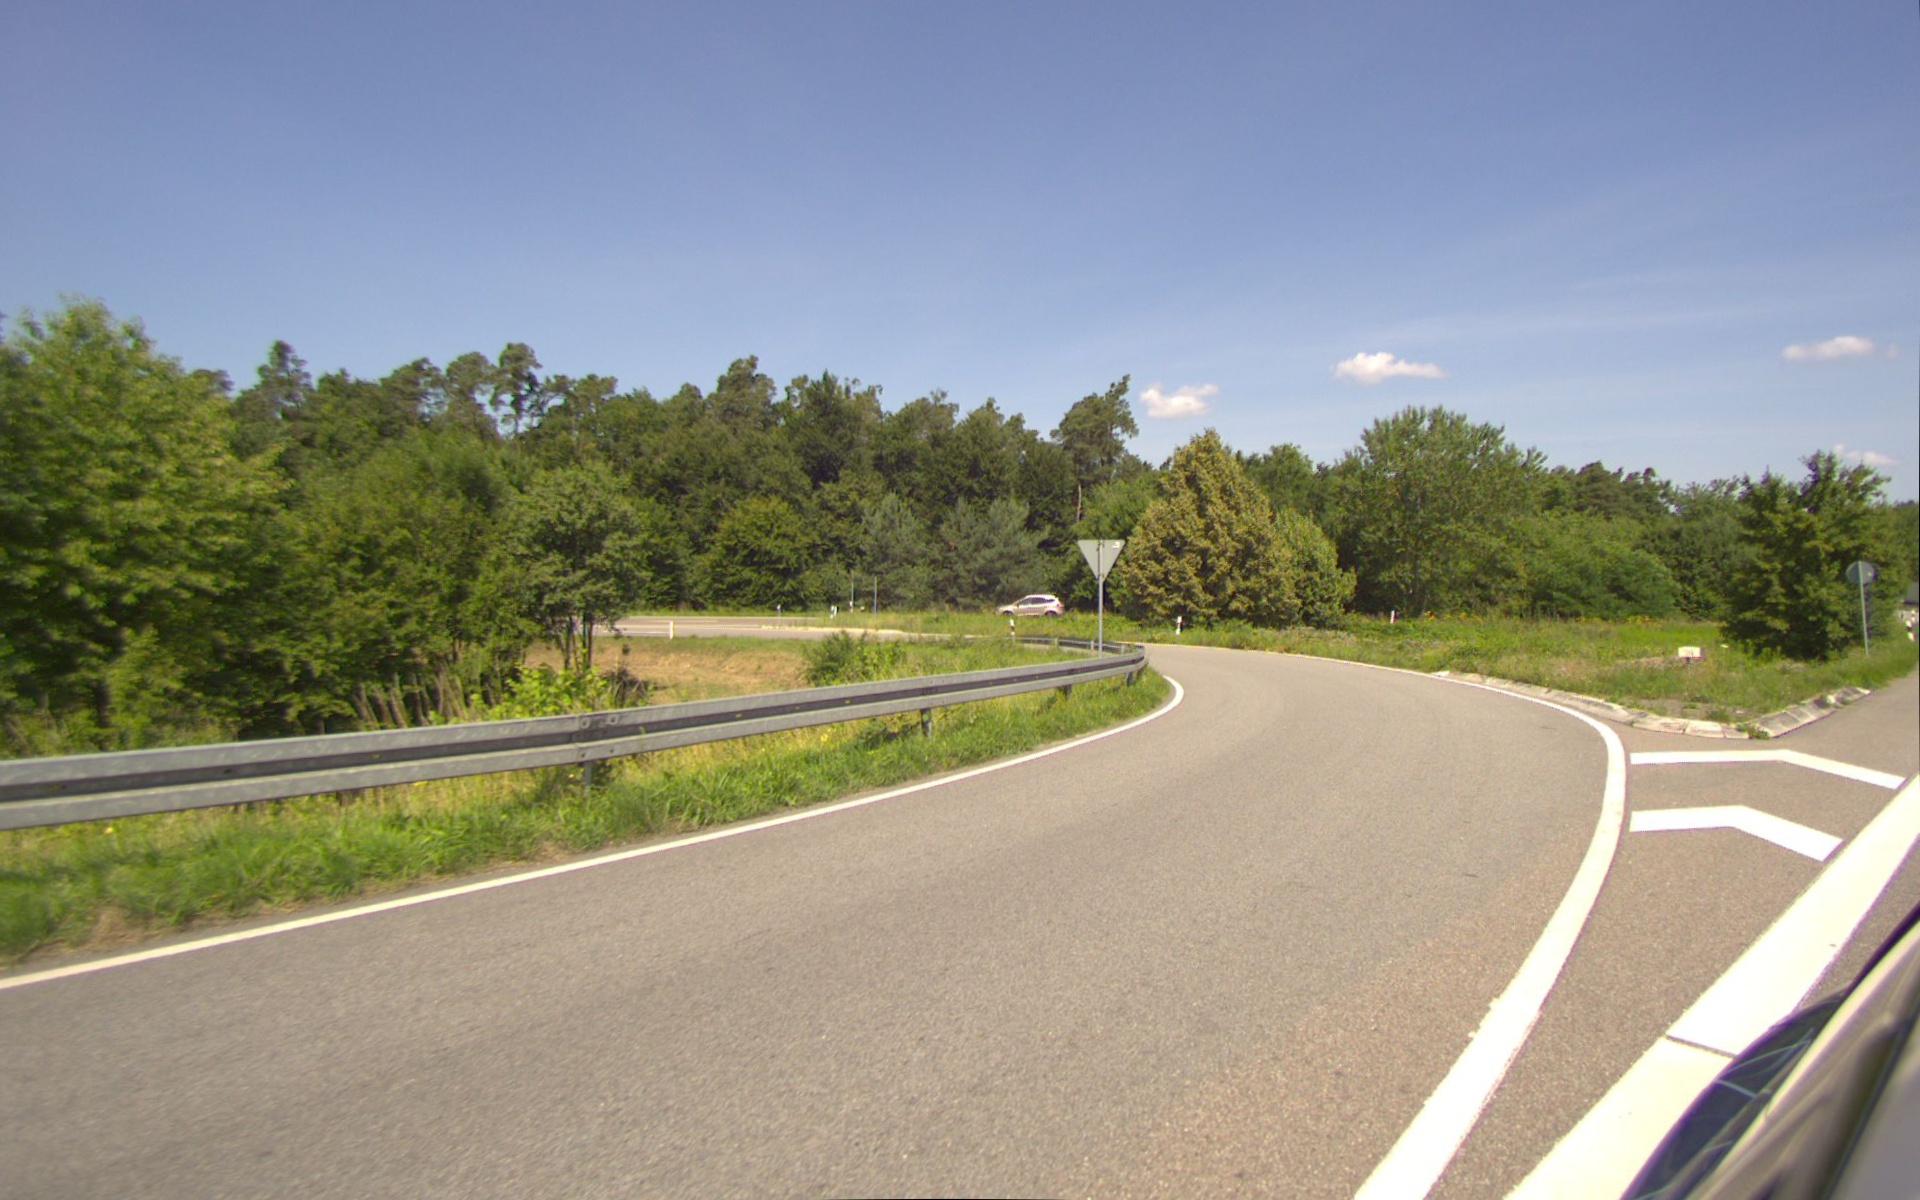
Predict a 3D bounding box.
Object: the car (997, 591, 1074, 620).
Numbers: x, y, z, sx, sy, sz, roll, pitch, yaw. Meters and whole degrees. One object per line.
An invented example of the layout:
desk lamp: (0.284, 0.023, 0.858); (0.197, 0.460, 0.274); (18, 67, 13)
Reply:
car: (4.611, 0.336, 61.704); (4.582, 1.687, 1.898); (-1, -1, 4)
